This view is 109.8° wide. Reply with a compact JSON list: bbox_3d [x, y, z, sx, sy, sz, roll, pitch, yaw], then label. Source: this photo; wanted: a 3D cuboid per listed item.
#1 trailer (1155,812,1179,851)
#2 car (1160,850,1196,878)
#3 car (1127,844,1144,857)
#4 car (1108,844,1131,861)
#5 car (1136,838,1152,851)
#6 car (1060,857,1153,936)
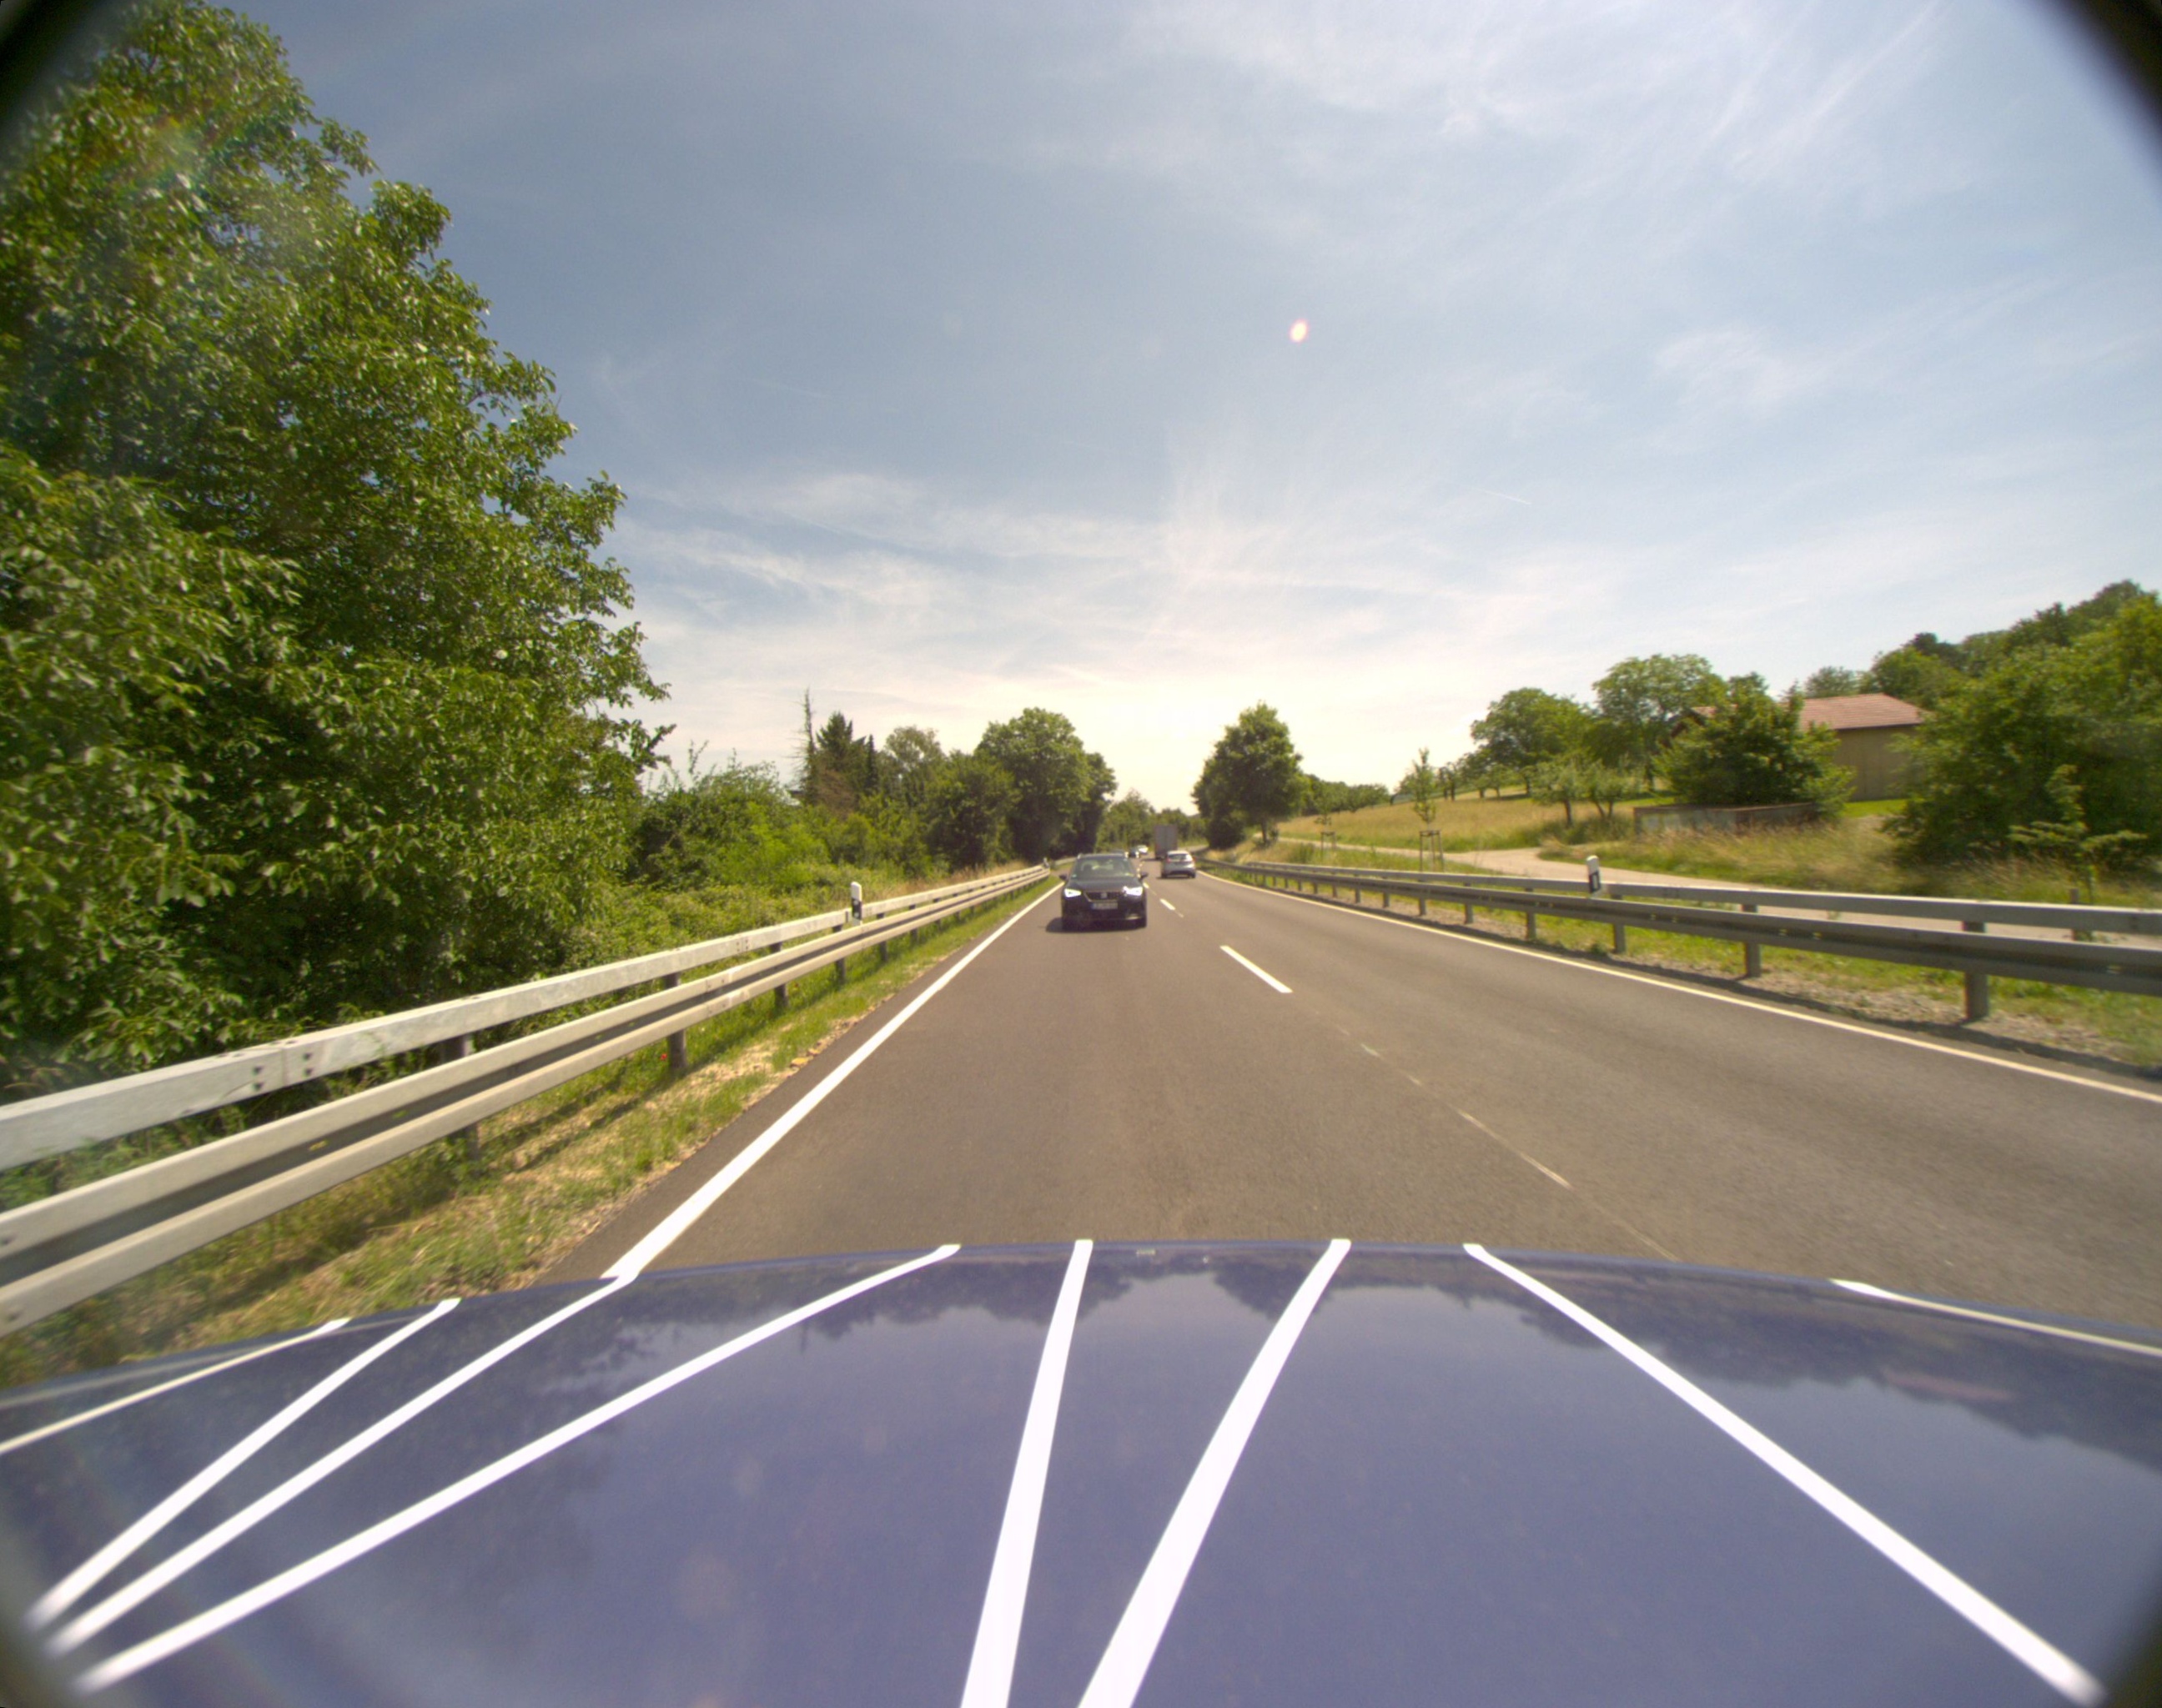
[{"bbox_3d":[10.097,-2.538,90.157,2.451,4.160,14.018,-1,1,5],"label":"trailer"},{"bbox_3d":[5.255,0.498,41.640,1.650,1.432,4.159,-1,0,3],"label":"car"},{"bbox_3d":[7.450,-0.467,103.404,1.882,1.698,4.003,-1,0,10],"label":"car"},{"bbox_3d":[4.008,-0.198,78.490,1.882,1.698,4.002,-1,0,9],"label":"car"},{"bbox_3d":[10.285,-1.594,123.667,1.997,2.002,4.003,-1,1,12],"label":"car"},{"bbox_3d":[0.430,0.819,16.590,1.738,1.467,3.999,-1,0,-2],"label":"car"}]
